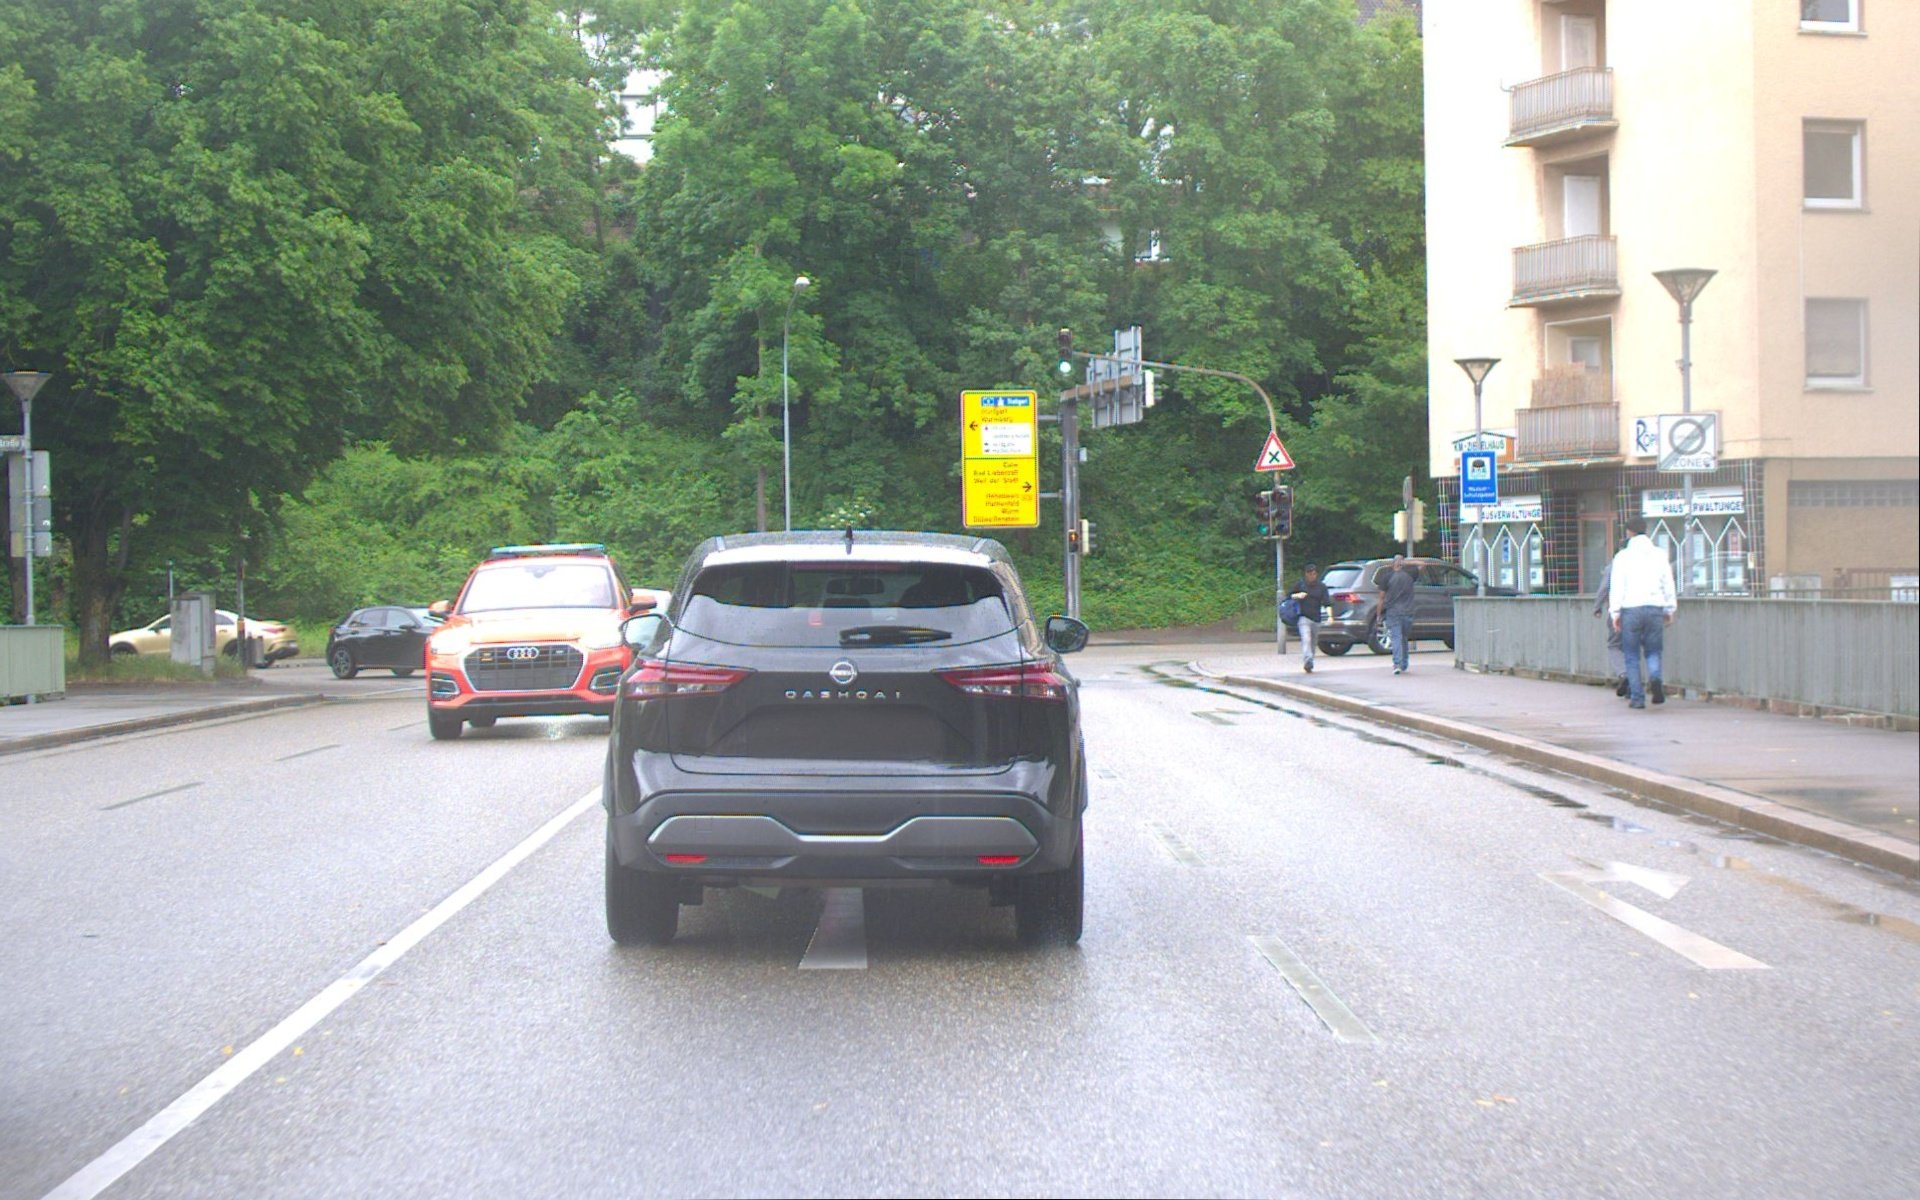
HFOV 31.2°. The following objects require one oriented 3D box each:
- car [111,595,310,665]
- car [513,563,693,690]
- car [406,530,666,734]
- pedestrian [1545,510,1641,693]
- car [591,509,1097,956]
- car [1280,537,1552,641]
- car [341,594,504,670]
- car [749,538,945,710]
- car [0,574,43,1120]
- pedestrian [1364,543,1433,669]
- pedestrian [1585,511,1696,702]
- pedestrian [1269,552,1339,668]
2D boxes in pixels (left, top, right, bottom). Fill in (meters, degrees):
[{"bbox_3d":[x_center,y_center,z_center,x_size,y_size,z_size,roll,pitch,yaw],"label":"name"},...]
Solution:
[{"bbox_3d":[-17.164,0.679,78.810,4.081,1.411,1.715,-2,0,5],"label":"car"},{"bbox_3d":[-4.360,0.294,42.544,1.781,1.397,4.219,-2,1,-1],"label":"car"},{"bbox_3d":[-3.919,0.247,32.442,1.888,1.729,4.371,-2,1,-1],"label":"car"},{"bbox_3d":[6.362,0.007,34.591,0.761,1.802,0.781,-2,1,-1],"label":"pedestrian"},{"bbox_3d":[-0.449,0.461,14.331,1.811,1.597,4.000,0,0,-1],"label":"car"},{"bbox_3d":[7.989,-0.198,60.180,4.366,1.643,1.884,-2,0,-26],"label":"car"},{"bbox_3d":[-10.779,0.643,68.723,1.709,1.411,4.093,-3,1,-32],"label":"car"},{"bbox_3d":[-1.089,0.189,34.137,1.811,1.597,4.000,1,1,-1],"label":"car"},{"bbox_3d":[-3.402,0.698,7.481,1.745,1.434,4.000,-2,1,-1],"label":"car"},{"bbox_3d":[5.999,0.079,47.047,0.761,1.671,0.781,-3,1,-1],"label":"pedestrian"},{"bbox_3d":[6.339,0.056,32.076,0.779,1.746,1.061,-1,0,-1],"label":"pedestrian"},{"bbox_3d":[4.937,0.139,49.346,0.862,1.613,0.839,-2,0,-1],"label":"pedestrian"}]
